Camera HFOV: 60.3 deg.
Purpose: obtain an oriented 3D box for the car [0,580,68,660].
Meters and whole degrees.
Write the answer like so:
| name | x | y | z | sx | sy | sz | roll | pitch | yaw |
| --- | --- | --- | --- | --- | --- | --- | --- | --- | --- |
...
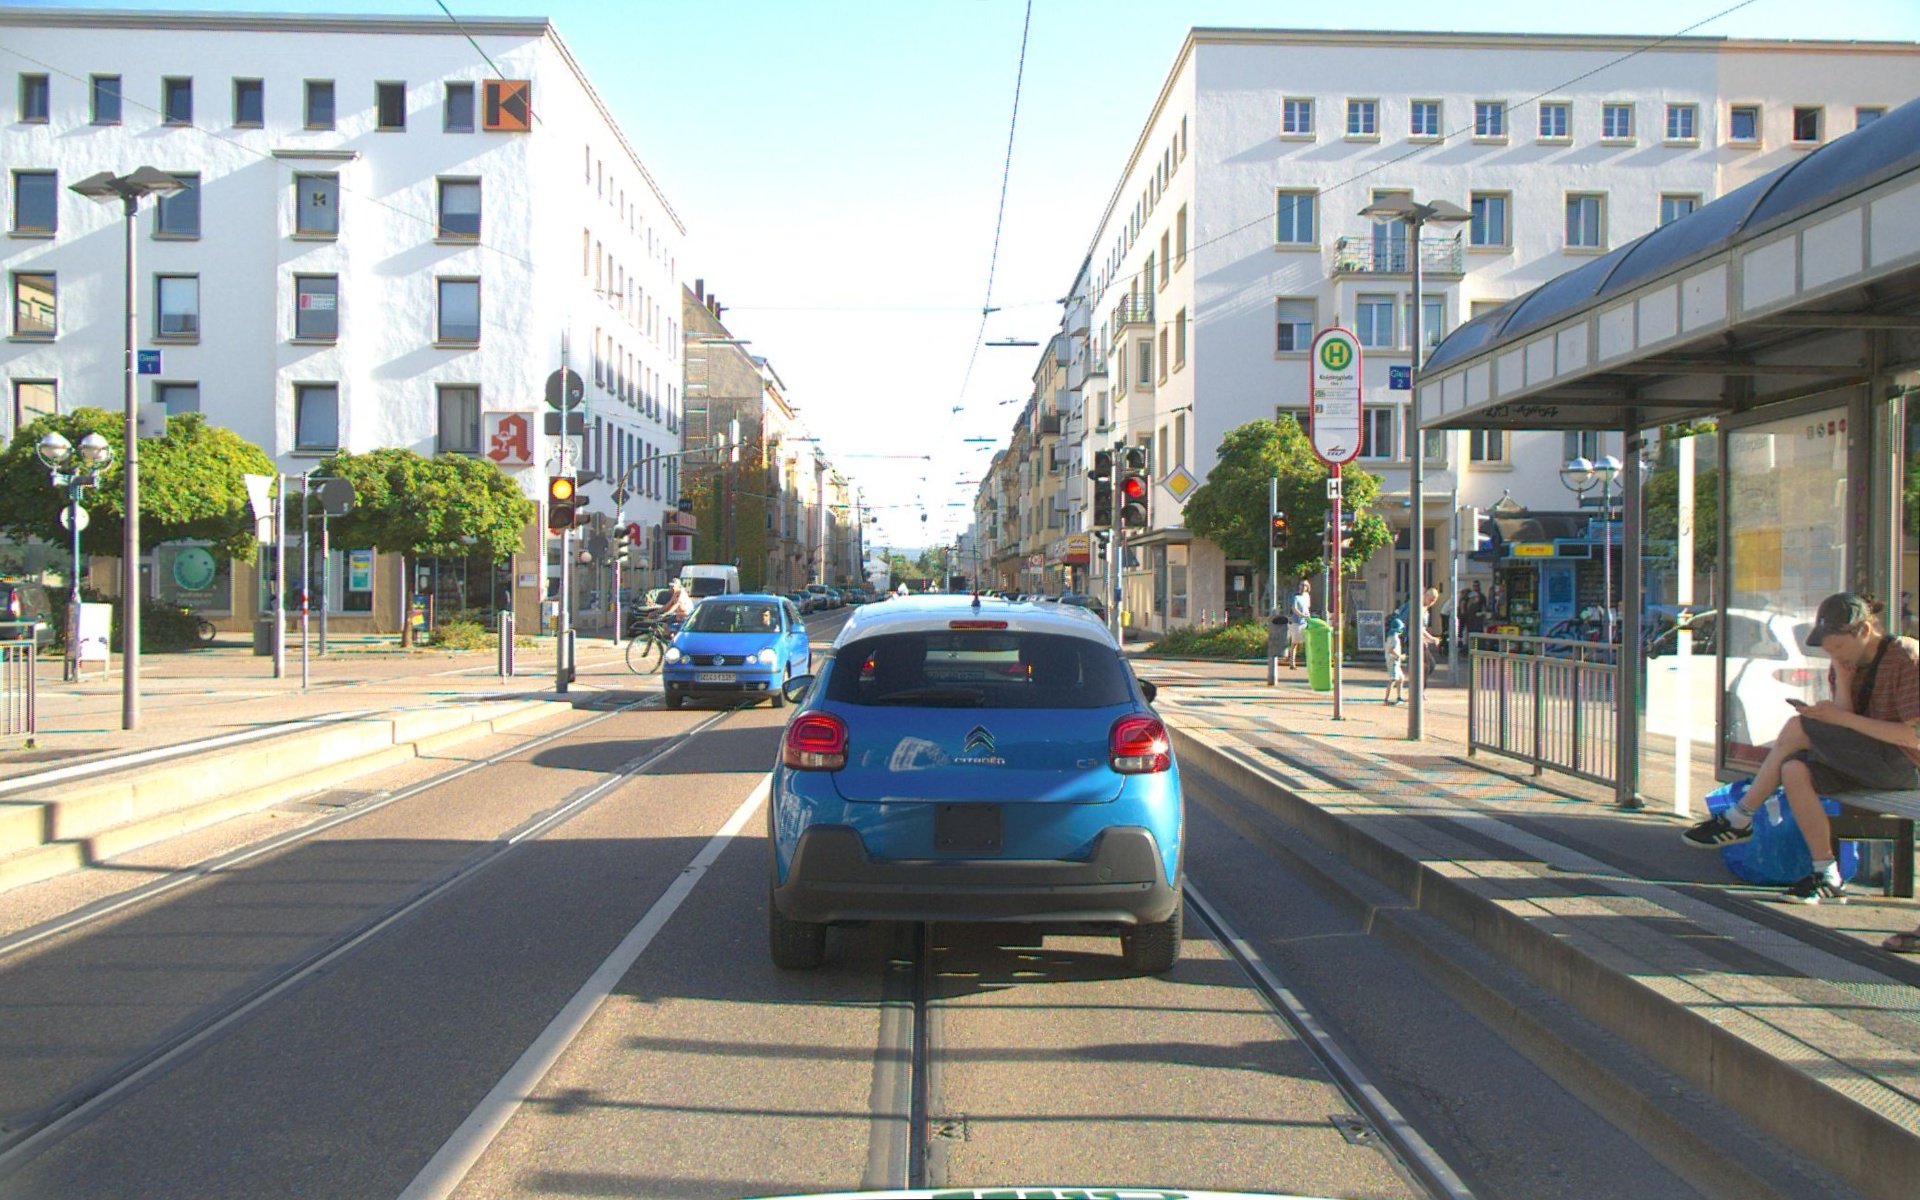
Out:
| name | x | y | z | sx | sy | sz | roll | pitch | yaw |
| --- | --- | --- | --- | --- | --- | --- | --- | --- | --- |
| car | -22.383 | 0.427 | 36.953 | 3.906 | 1.736 | 1.825 | 0 | 0 | -1 |

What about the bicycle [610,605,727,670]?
| name | x | y | z | sx | sy | sz | roll | pitch | yaw |
| --- | --- | --- | --- | --- | --- | --- | --- | --- | --- |
| bicycle | -5.263 | 0.675 | 29.894 | 1.954 | 1.132 | 0.721 | 1 | 0 | -35 |

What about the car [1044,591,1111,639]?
| name | x | y | z | sx | sy | sz | roll | pitch | yaw |
| --- | --- | --- | --- | --- | --- | --- | --- | --- | --- |
| car | 3.784 | 0.461 | 53.930 | 1.870 | 1.489 | 4.000 | 0 | 0 | 0 |

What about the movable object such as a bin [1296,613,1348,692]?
| name | x | y | z | sx | sy | sz | roll | pitch | yaw |
| --- | --- | --- | --- | --- | --- | --- | --- | --- | --- |
| movable object such as a bin | 3.723 | 0.535 | 17.033 | 0.439 | 0.800 | 0.489 | 0 | 0 | 2 |

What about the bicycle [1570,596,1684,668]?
| name | x | y | z | sx | sy | sz | roll | pitch | yaw |
| --- | --- | --- | --- | --- | --- | --- | --- | --- | --- |
| bicycle | 15.547 | 0.736 | 38.568 | 2.336 | 1.558 | 0.726 | 2 | 0 | -2 |

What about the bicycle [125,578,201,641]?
| name | x | y | z | sx | sy | sz | roll | pitch | yaw |
| --- | --- | --- | --- | --- | --- | --- | --- | --- | --- |
| bicycle | -21.324 | 0.254 | 44.312 | 0.605 | 1.635 | 2.621 | 0 | 0 | 3 |

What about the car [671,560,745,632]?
| name | x | y | z | sx | sy | sz | roll | pitch | yaw |
| --- | --- | --- | --- | --- | --- | --- | --- | --- | --- |
| car | -9.709 | -0.161 | 64.135 | 2.043 | 2.586 | 6.203 | 1 | 0 | -2 |

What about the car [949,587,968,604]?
| name | x | y | z | sx | sy | sz | roll | pitch | yaw |
| --- | --- | --- | --- | --- | --- | --- | --- | --- | --- |
| car | -0.219 | -0.452 | 175.697 | 1.953 | 1.803 | 3.999 | 0 | 0 | -1 |

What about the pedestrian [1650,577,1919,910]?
| name | x | y | z | sx | sy | sz | roll | pitch | yaw |
| --- | --- | --- | --- | --- | --- | --- | --- | --- | --- |
| pedestrian | 3.570 | 0.566 | 6.850 | 0.978 | 1.246 | 0.923 | 3 | -1 | -1 |

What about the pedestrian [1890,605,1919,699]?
| name | x | y | z | sx | sy | sz | roll | pitch | yaw |
| --- | --- | --- | --- | --- | --- | --- | --- | --- | --- |
| pedestrian | 16.767 | 0.896 | 28.708 | 0.882 | 1.613 | 0.662 | 0 | 0 | 3 |

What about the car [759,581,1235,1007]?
| name | x | y | z | sx | sy | sz | roll | pitch | yaw |
| --- | --- | --- | --- | --- | --- | --- | --- | --- | --- |
| car | 0.106 | 0.696 | 7.894 | 1.693 | 1.508 | 3.826 | 1 | 0 | -1 |

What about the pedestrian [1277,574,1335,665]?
| name | x | y | z | sx | sy | sz | roll | pitch | yaw |
| --- | --- | --- | --- | --- | --- | --- | --- | --- | --- |
| pedestrian | 7.361 | 0.414 | 35.260 | 0.961 | 1.910 | 1.128 | 0 | -1 | -3 |

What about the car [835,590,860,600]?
| name | x | y | z | sx | sy | sz | roll | pitch | yaw |
| --- | --- | --- | --- | --- | --- | --- | --- | --- | --- |
| car | -12.653 | -0.546 | 186.288 | 1.951 | 1.176 | 4.518 | 0 | 0 | 8 |

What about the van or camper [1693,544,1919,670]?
| name | x | y | z | sx | sy | sz | roll | pitch | yaw |
| --- | --- | --- | --- | --- | --- | --- | --- | --- | --- |
| van or camper | 20.987 | 0.136 | 38.274 | 6.976 | 2.795 | 2.371 | 0 | 2 | 0 |

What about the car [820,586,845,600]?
| name | x | y | z | sx | sy | sz | roll | pitch | yaw |
| --- | --- | --- | --- | --- | --- | --- | --- | --- | --- |
| car | -11.681 | -0.641 | 151.767 | 1.953 | 1.176 | 4.000 | 0 | 0 | 0 |

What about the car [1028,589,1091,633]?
| name | x | y | z | sx | sy | sz | roll | pitch | yaw |
| --- | --- | --- | --- | --- | --- | --- | --- | --- | --- |
| car | 3.480 | 0.379 | 58.344 | 1.953 | 1.489 | 4.000 | 0 | 0 | 0 |

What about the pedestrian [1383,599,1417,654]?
| name | x | y | z | sx | sy | sz | roll | pitch | yaw |
| --- | --- | --- | --- | --- | --- | --- | --- | --- | --- |
| pedestrian | 10.802 | 0.652 | 40.620 | 0.725 | 1.339 | 0.628 | 0 | 0 | 22 |

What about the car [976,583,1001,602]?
| name | x | y | z | sx | sy | sz | roll | pitch | yaw |
| --- | --- | --- | --- | --- | --- | --- | --- | --- | --- |
| car | 2.272 | -0.593 | 134.626 | 1.953 | 1.489 | 4.000 | 0 | 0 | 0 |

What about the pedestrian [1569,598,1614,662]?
| name | x | y | z | sx | sy | sz | roll | pitch | yaw |
| --- | --- | --- | --- | --- | --- | --- | --- | --- | --- |
| pedestrian | 14.762 | 0.691 | 38.686 | 0.715 | 1.434 | 0.755 | 1 | 3 | -1 |

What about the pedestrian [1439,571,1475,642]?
| name | x | y | z | sx | sy | sz | roll | pitch | yaw |
| --- | --- | --- | --- | --- | --- | --- | --- | --- | --- |
| pedestrian | 13.254 | 0.176 | 44.140 | 0.768 | 1.871 | 0.678 | 0 | 0 | 2 |

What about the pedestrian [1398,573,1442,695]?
| name | x | y | z | sx | sy | sz | roll | pitch | yaw |
| --- | --- | --- | --- | --- | --- | --- | --- | --- | --- |
| pedestrian | 6.818 | 0.505 | 24.514 | 0.546 | 1.775 | 0.527 | 1 | -1 | 10 |

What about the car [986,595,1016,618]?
| name | x | y | z | sx | sy | sz | roll | pitch | yaw |
| --- | --- | --- | --- | --- | --- | --- | --- | --- | --- |
| car | 2.763 | 0.413 | 111.393 | 1.952 | 1.489 | 4.000 | 0 | 0 | 0 |

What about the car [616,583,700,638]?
| name | x | y | z | sx | sy | sz | roll | pitch | yaw |
| --- | --- | --- | --- | --- | --- | --- | --- | --- | --- |
| car | -9.772 | 0.346 | 53.772 | 1.954 | 1.596 | 4.401 | 3 | 0 | -2 |

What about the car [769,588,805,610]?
| name | x | y | z | sx | sy | sz | roll | pitch | yaw |
| --- | --- | --- | --- | --- | --- | --- | --- | --- | --- |
| car | -10.929 | -0.037 | 104.723 | 1.953 | 1.348 | 3.921 | 1 | 0 | -2 |

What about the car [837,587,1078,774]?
| name | x | y | z | sx | sy | sz | roll | pitch | yaw |
| --- | --- | --- | --- | --- | --- | --- | --- | --- | --- |
| car | -0.056 | 0.649 | 15.970 | 1.944 | 1.490 | 4.814 | 1 | 0 | -1 |

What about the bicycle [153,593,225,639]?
| name | x | y | z | sx | sy | sz | roll | pitch | yaw |
| --- | --- | --- | --- | --- | --- | --- | --- | --- | --- |
| bicycle | -20.616 | 0.416 | 44.299 | 0.605 | 1.211 | 2.621 | 0 | 0 | 2 |

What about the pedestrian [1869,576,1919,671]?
| name | x | y | z | sx | sy | sz | roll | pitch | yaw |
| --- | --- | --- | --- | --- | --- | --- | --- | --- | --- |
| pedestrian | 17.175 | 0.419 | 30.130 | 0.882 | 1.714 | 0.696 | 0 | 0 | 5 |

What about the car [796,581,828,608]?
| name | x | y | z | sx | sy | sz | roll | pitch | yaw |
| --- | --- | --- | --- | --- | --- | --- | --- | --- | --- |
| car | -11.453 | -0.396 | 128.288 | 1.965 | 2.049 | 4.690 | 1 | 0 | 1 |

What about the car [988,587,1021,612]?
| name | x | y | z | sx | sy | sz | roll | pitch | yaw |
| --- | --- | --- | --- | --- | --- | --- | --- | --- | --- |
| car | 2.749 | -0.048 | 103.668 | 1.953 | 1.489 | 4.504 | 0 | 0 | 0 |

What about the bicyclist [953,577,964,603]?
| name | x | y | z | sx | sy | sz | roll | pitch | yaw |
| --- | --- | --- | --- | --- | --- | --- | --- | --- | --- |
| bicyclist | -0.128 | -0.762 | 131.368 | 0.793 | 2.049 | 0.922 | 1 | -1 | -1 |

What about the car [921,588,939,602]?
| name | x | y | z | sx | sy | sz | roll | pitch | yaw |
| --- | --- | --- | --- | --- | --- | --- | --- | --- | --- |
| car | -3.816 | -0.658 | 209.494 | 1.954 | 1.809 | 3.996 | 0 | 0 | -5 |

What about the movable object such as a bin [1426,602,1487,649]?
| name | x | y | z | sx | sy | sz | roll | pitch | yaw |
| --- | --- | --- | --- | --- | --- | --- | --- | --- | --- |
| movable object such as a bin | 12.583 | 0.641 | 41.924 | 1.174 | 1.173 | 1.217 | 0 | 0 | 0 |

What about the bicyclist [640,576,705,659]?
| name | x | y | z | sx | sy | sz | roll | pitch | yaw |
| --- | --- | --- | --- | --- | --- | --- | --- | --- | --- |
| bicyclist | -5.210 | 0.318 | 29.934 | 0.867 | 1.481 | 0.820 | 2 | -1 | -35 |

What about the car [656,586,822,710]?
| name | x | y | z | sx | sy | sz | roll | pitch | yaw |
| --- | --- | --- | --- | --- | --- | --- | --- | --- | --- |
| car | -2.950 | 0.595 | 22.816 | 1.632 | 1.513 | 4.001 | 1 | 0 | 1 |

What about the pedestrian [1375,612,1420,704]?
| name | x | y | z | sx | sy | sz | roll | pitch | yaw |
| --- | --- | --- | --- | --- | --- | --- | --- | --- | --- |
| pedestrian | 6.119 | 0.805 | 23.146 | 0.546 | 1.247 | 0.527 | 1 | -1 | 10 |

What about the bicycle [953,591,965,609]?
| name | x | y | z | sx | sy | sz | roll | pitch | yaw |
| --- | --- | --- | --- | --- | --- | --- | --- | --- | --- |
| bicycle | -0.111 | -0.002 | 131.206 | 0.901 | 1.413 | 3.131 | 0 | 0 | -1 |

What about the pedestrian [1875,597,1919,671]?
| name | x | y | z | sx | sy | sz | roll | pitch | yaw |
| --- | --- | --- | --- | --- | --- | --- | --- | --- | --- |
| pedestrian | 16.899 | 0.602 | 29.455 | 0.882 | 1.302 | 0.605 | 0 | 0 | 6 |
